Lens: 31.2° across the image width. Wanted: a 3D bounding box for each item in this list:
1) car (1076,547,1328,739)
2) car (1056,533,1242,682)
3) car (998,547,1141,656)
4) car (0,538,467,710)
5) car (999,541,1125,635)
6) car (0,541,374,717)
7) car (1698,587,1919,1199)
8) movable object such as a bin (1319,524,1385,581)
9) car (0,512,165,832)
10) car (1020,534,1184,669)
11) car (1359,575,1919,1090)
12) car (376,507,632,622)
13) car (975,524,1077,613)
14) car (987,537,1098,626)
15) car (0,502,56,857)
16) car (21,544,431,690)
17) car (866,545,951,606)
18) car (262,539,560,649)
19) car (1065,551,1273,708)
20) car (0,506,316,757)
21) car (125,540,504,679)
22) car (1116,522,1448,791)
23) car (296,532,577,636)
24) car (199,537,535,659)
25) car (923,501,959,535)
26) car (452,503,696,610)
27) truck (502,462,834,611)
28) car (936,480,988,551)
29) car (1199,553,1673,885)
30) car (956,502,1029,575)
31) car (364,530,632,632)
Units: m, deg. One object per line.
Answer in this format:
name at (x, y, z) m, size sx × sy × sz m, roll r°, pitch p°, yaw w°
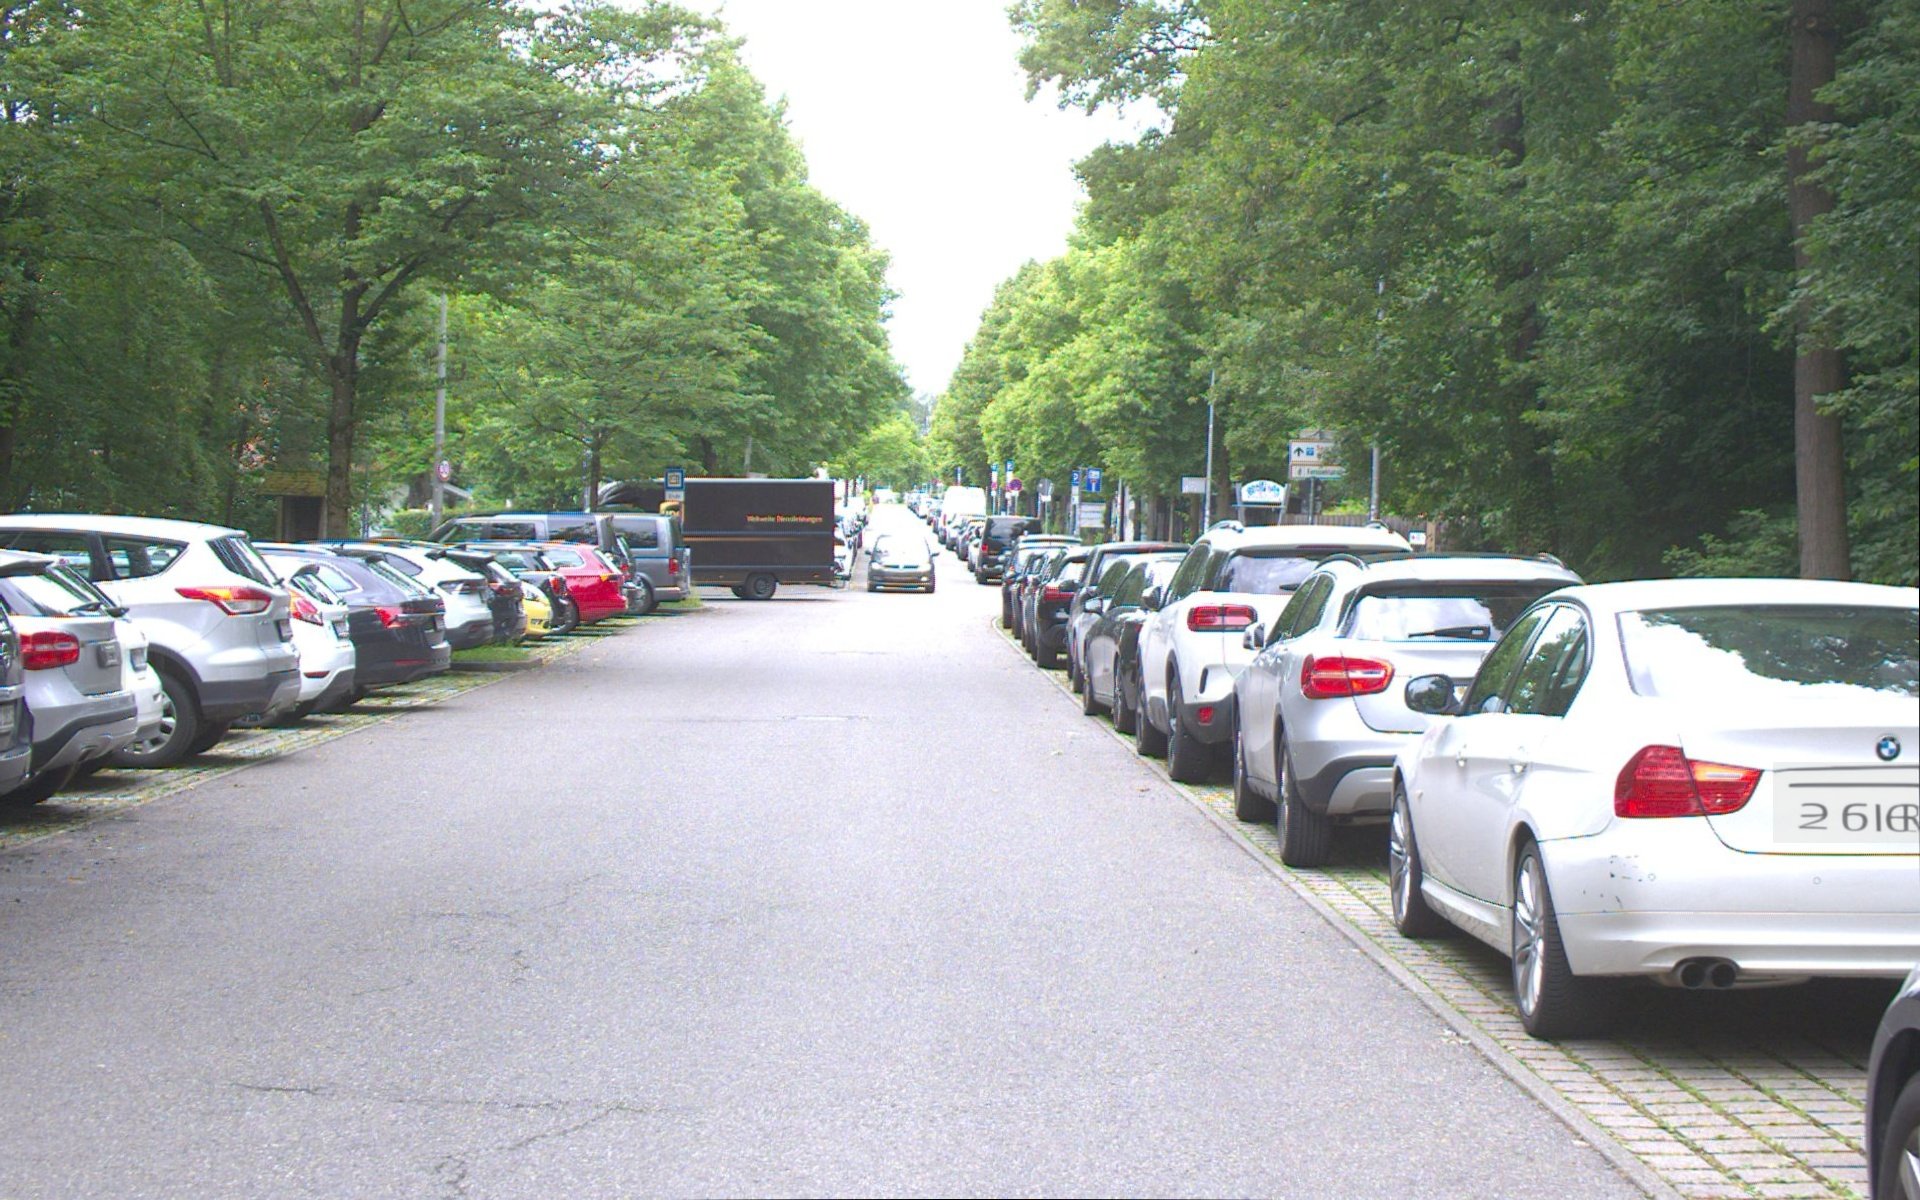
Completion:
car at (1.971, 0.302, 29.221) m, size 1.736 × 1.469 × 4.605 m, roll 1°, pitch 1°, yaw -1°
car at (2.065, 0.049, 38.520) m, size 1.736 × 1.562 × 4.008 m, roll 1°, pitch 1°, yaw -2°
car at (1.499, -0.016, 48.439) m, size 1.736 × 1.427 × 4.502 m, roll 1°, pitch 1°, yaw -2°
car at (-6.592, 0.193, 31.092) m, size 3.987 × 1.430 × 1.677 m, roll 1°, pitch 1°, yaw 1°
car at (1.601, -0.222, 55.302) m, size 1.736 × 1.427 × 4.502 m, roll 1°, pitch 1°, yaw -2°
car at (-7.041, 0.221, 28.724) m, size 3.987 × 1.430 × 1.648 m, roll 0°, pitch 1°, yaw 1°
car at (2.540, 0.739, 4.879) m, size 1.736 × 1.430 × 4.746 m, roll 1°, pitch 1°, yaw -3°
movable object such as a bin at (10.085, -1.214, 88.428) m, size 1.282 × 1.437 × 1.078 m, roll 1°, pitch 0°, yaw -44°
car at (-6.539, 0.368, 18.736) m, size 3.987 × 1.656 × 1.814 m, roll 0°, pitch 1°, yaw 0°
car at (1.729, -0.016, 43.156) m, size 1.736 × 1.583 × 4.382 m, roll 1°, pitch 1°, yaw -2°
car at (2.548, 0.645, 11.912) m, size 1.736 × 1.402 × 4.428 m, roll 1°, pitch 1°, yaw -1°
car at (-7.454, -0.590, 56.510) m, size 3.987 × 1.856 × 1.813 m, roll 0°, pitch 1°, yaw -1°
car at (1.240, -0.626, 66.486) m, size 1.736 × 1.628 × 4.376 m, roll 1°, pitch 1°, yaw -2°
car at (1.424, -0.355, 60.738) m, size 1.736 × 1.489 × 4.234 m, roll 1°, pitch 1°, yaw -2°
car at (-6.485, 0.378, 16.268) m, size 3.986 × 1.656 × 1.696 m, roll 0°, pitch 1°, yaw -2°
car at (-7.798, 0.165, 36.749) m, size 3.987 × 1.430 × 1.702 m, roll 1°, pitch 1°, yaw 1°
car at (-1.292, -0.609, 87.304) m, size 1.872 × 1.481 × 4.000 m, roll 1°, pitch 0°, yaw 3°
car at (-7.803, -0.092, 49.086) m, size 3.987 × 1.433 × 1.618 m, roll 2°, pitch 1°, yaw -1°
car at (2.004, 0.246, 33.989) m, size 1.736 × 1.420 × 4.155 m, roll 1°, pitch 1°, yaw -1°
car at (-6.559, 0.191, 23.576) m, size 3.986 × 1.656 × 1.814 m, roll 0°, pitch 1°, yaw -2°
car at (-7.298, 0.087, 39.110) m, size 3.987 × 1.462 × 1.715 m, roll 1°, pitch 1°, yaw -1°
car at (2.109, 0.311, 23.811) m, size 1.736 × 1.638 × 5.072 m, roll 1°, pitch 1°, yaw -1°
car at (-7.795, -0.248, 51.472) m, size 3.986 × 1.433 × 1.672 m, roll 2°, pitch 1°, yaw -3°
car at (-7.558, -0.040, 44.038) m, size 3.987 × 1.433 × 1.715 m, roll 2°, pitch 1°, yaw -1°
car at (-1.187, -5.159, 215.962) m, size 1.994 × 2.007 × 4.000 m, roll 1°, pitch 0°, yaw 3°
car at (-7.404, -0.831, 66.295) m, size 4.502 × 1.971 × 1.891 m, roll 1°, pitch 0°, yaw -2°
truck at (-6.796, -1.437, 79.365) m, size 7.245 × 3.225 × 3.442 m, roll 1°, pitch 0°, yaw -11°
car at (0.094, -3.721, 151.597) m, size 2.184 × 3.005 × 4.897 m, roll 1°, pitch 1°, yaw 0°
car at (2.329, 0.510, 18.003) m, size 1.736 × 1.474 × 4.770 m, roll 1°, pitch 1°, yaw -1°
car at (0.912, -1.751, 97.754) m, size 1.988 × 2.007 × 4.108 m, roll 1°, pitch 1°, yaw 0°
car at (-7.194, -0.308, 53.789) m, size 3.986 × 1.471 × 1.780 m, roll 2°, pitch 1°, yaw -3°
